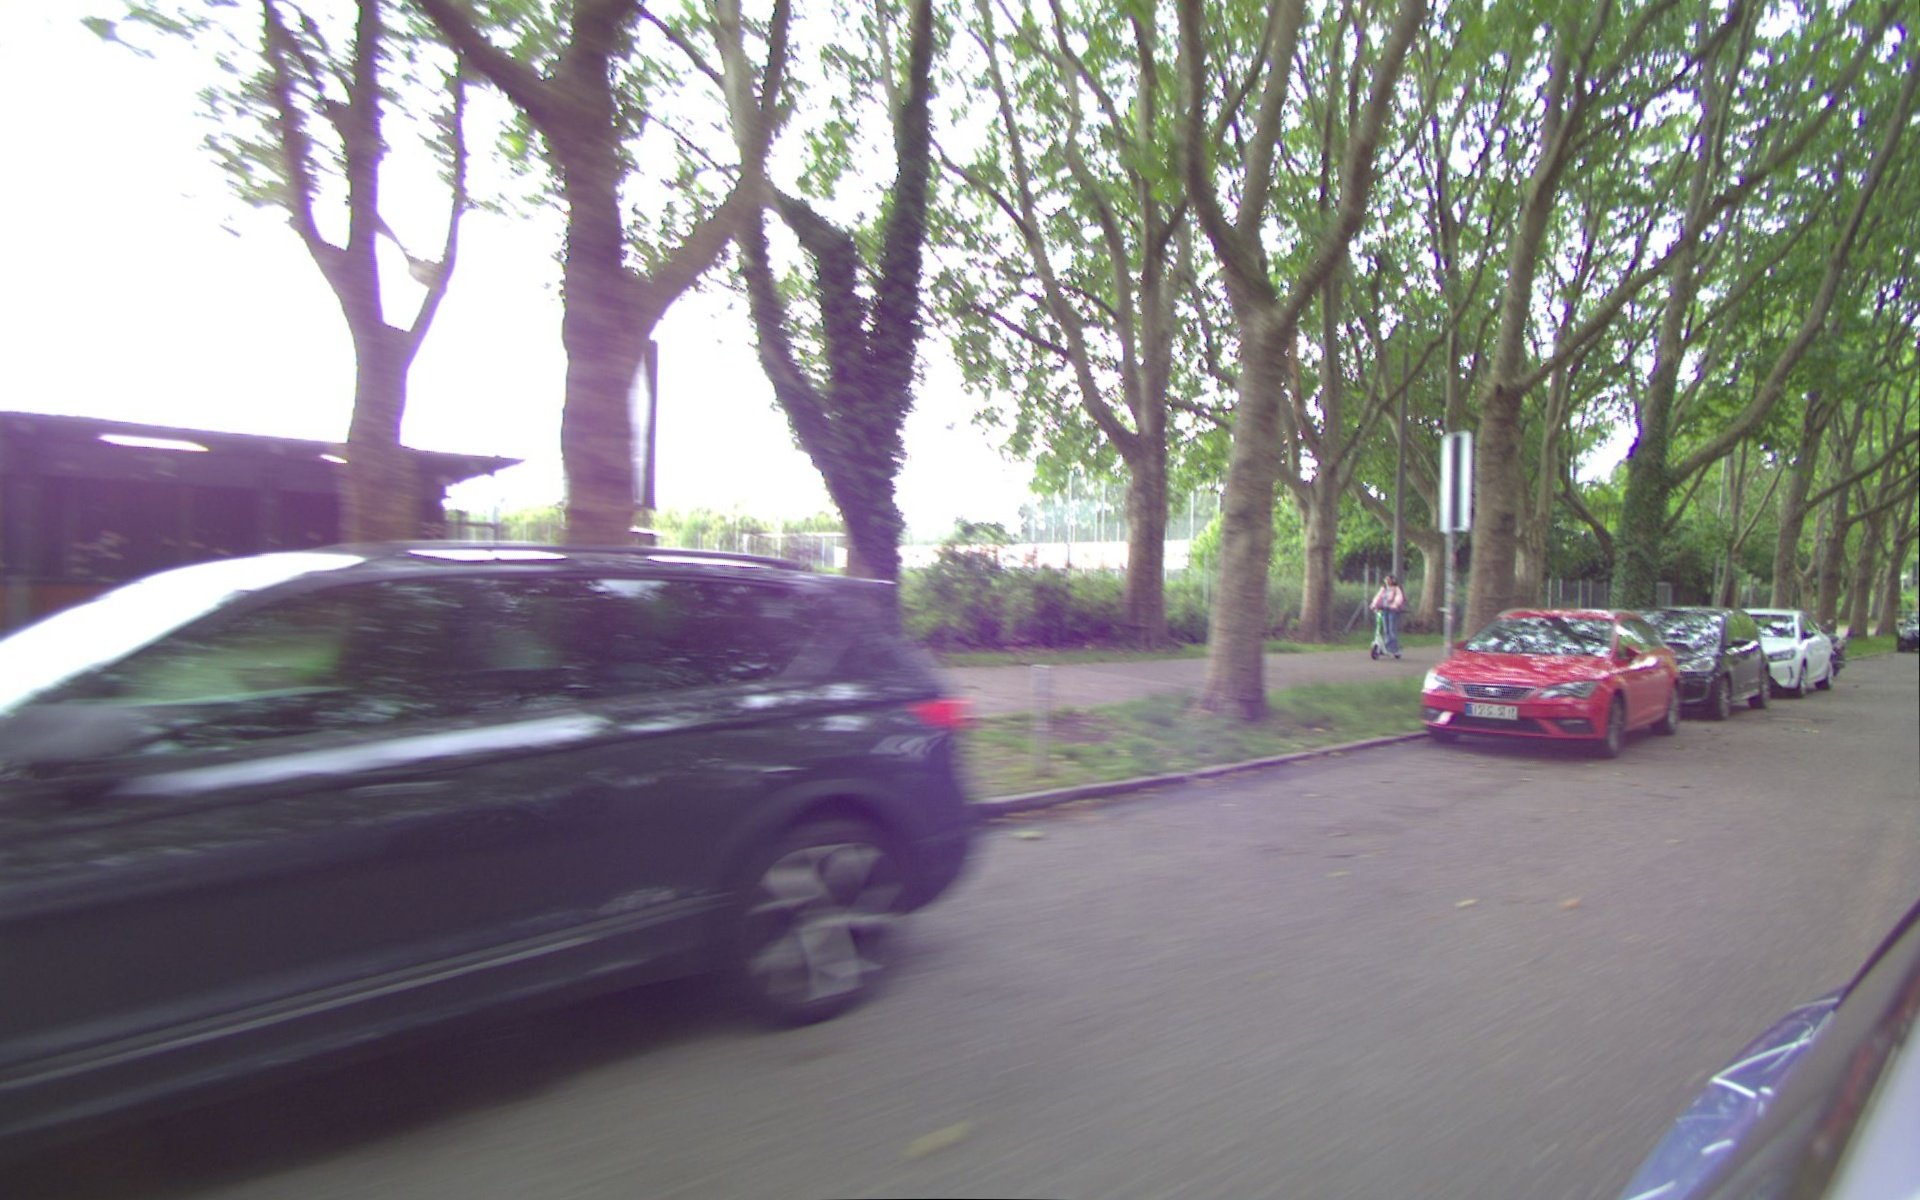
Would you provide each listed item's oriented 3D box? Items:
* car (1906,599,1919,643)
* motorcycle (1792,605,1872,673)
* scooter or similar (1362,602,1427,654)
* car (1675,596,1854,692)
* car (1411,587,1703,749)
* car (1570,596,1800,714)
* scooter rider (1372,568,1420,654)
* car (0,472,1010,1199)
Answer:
[{"bbox_3d":[34.771,0.733,35.407,4.294,1.497,1.997,0,-1,-41],"label":"car"},{"bbox_3d":[18.154,0.784,21.060,1.953,1.348,0.715,0,0,-32],"label":"motorcycle"},{"bbox_3d":[9.511,0.592,22.127,1.441,1.050,0.682,1,3,-41],"label":"scooter or similar"},{"bbox_3d":[14.232,0.695,17.831,4.050,1.456,1.738,0,1,-41],"label":"car"},{"bbox_3d":[6.829,0.626,11.340,4.553,1.457,1.717,0,-1,-45],"label":"car"},{"bbox_3d":[10.595,0.714,14.690,4.007,1.489,1.733,0,-2,-40],"label":"car"},{"bbox_3d":[9.514,0.232,22.090,0.577,1.822,0.678,1,2,-40],"label":"scooter rider"},{"bbox_3d":[-2.020,0.557,3.294,4.360,1.640,1.758,0,-1,-41],"label":"car"}]
